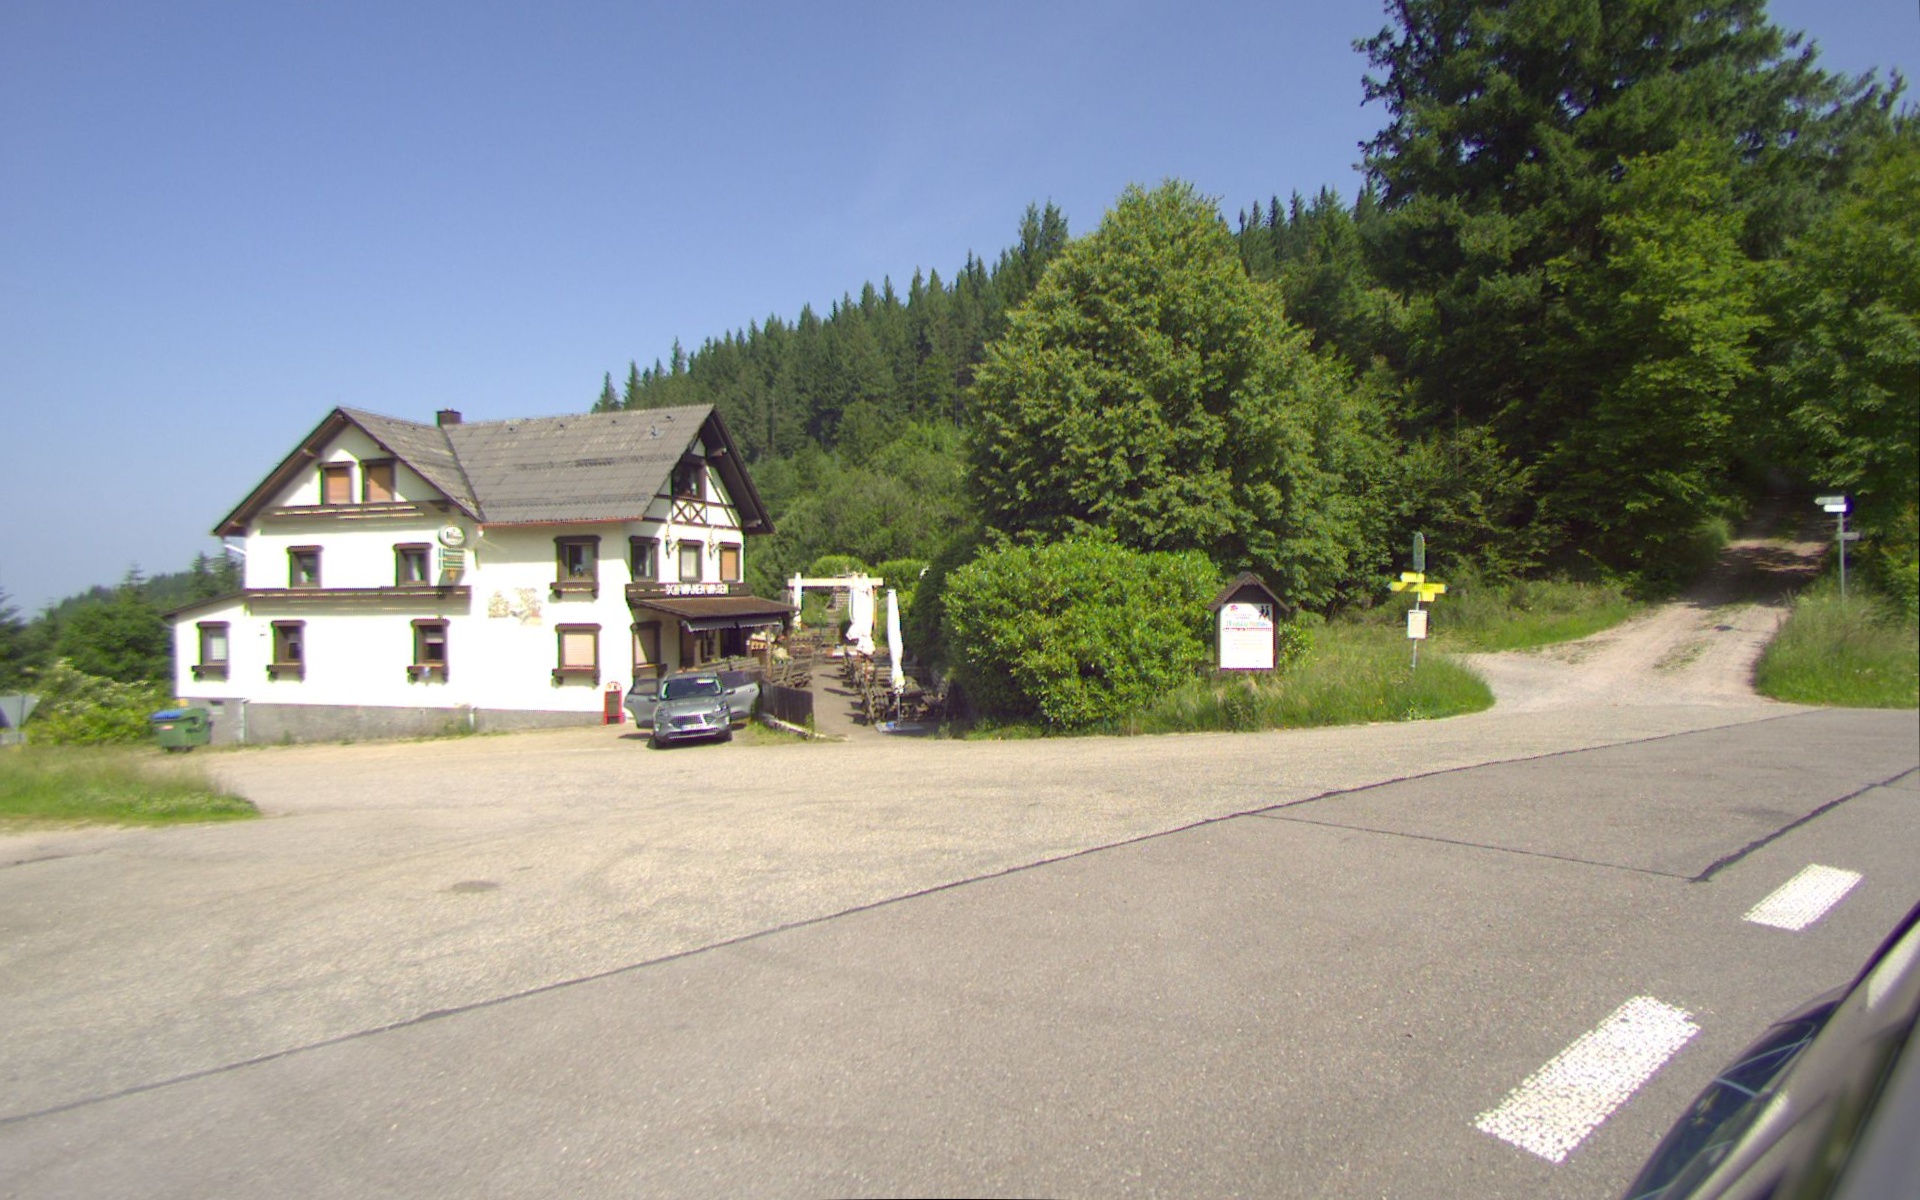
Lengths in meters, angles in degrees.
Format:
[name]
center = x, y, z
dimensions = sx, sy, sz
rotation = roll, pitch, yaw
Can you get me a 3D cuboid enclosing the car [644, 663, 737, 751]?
[car]
center = -6.754, 2.586, 25.414
dimensions = 1.938, 1.642, 4.486
rotation = -5, 0, -15
